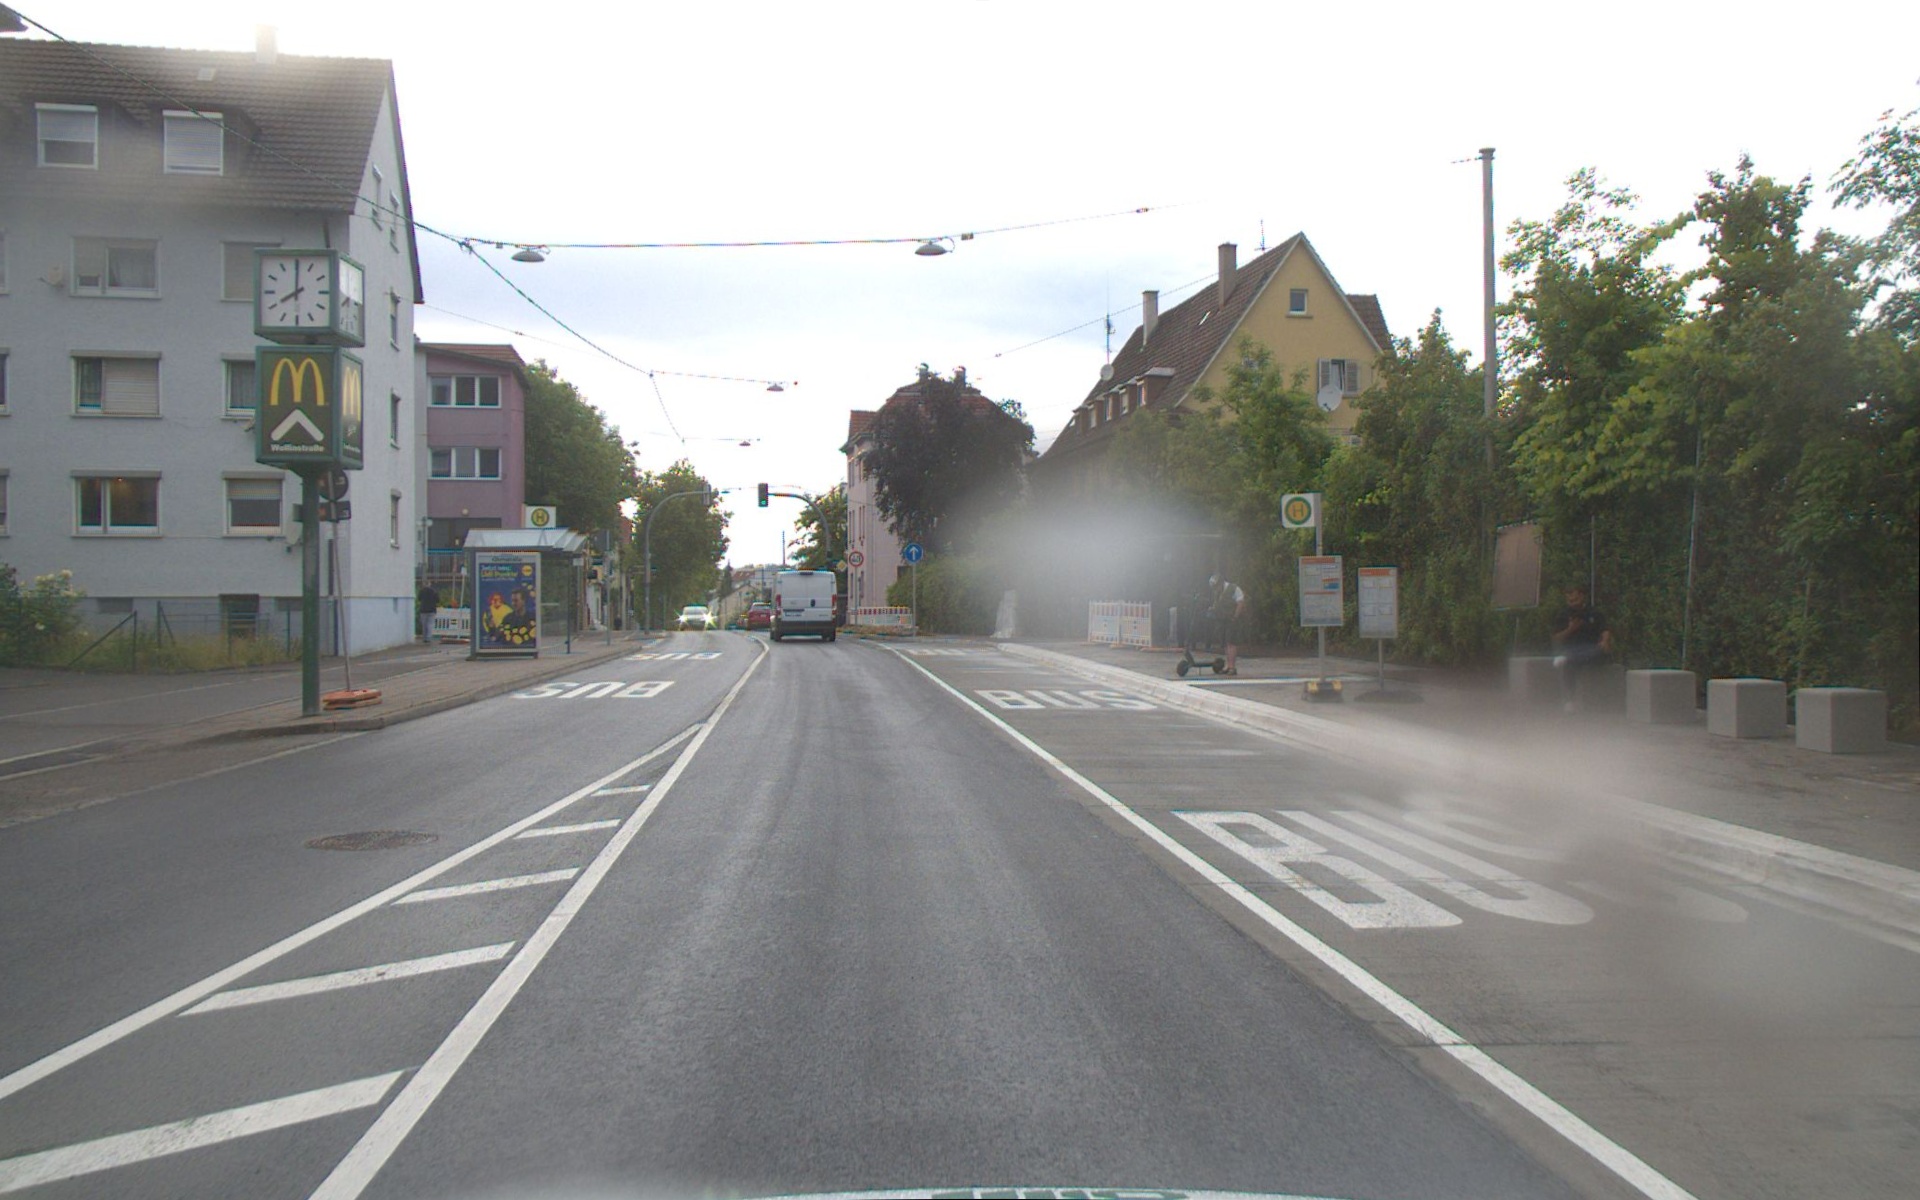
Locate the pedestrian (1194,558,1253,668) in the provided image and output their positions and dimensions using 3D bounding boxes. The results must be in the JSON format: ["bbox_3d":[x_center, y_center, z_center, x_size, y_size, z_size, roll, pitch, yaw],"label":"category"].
[{"bbox_3d":[4.288,0.200,26.961,0.886,1.761,0.654,1,2,5],"label":"pedestrian"}]

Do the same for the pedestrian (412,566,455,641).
[{"bbox_3d":[-14.802,0.087,46.548,1.061,2.048,1.048,0,2,-14],"label":"pedestrian"}]

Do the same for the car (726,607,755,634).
[{"bbox_3d":[-17.118,1.599,129.103,2.195,1.835,4.707,0,3,-8],"label":"car"}]

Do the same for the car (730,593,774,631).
[{"bbox_3d":[-10.781,0.600,85.550,2.195,1.685,4.706,0,3,-8],"label":"car"}]

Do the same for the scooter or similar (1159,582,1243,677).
[{"bbox_3d":[3.935,0.456,26.948,1.542,1.430,0.490,-4,4,-41],"label":"scooter or similar"}]

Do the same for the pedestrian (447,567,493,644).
[{"bbox_3d":[-13.447,0.139,45.381,1.187,2.048,1.048,0,2,-16],"label":"pedestrian"}]

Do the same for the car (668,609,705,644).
[{"bbox_3d":[-15.889,1.515,96.252,1.955,1.824,3.996,0,3,-6],"label":"car"}]

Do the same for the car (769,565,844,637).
[{"bbox_3d":[-5.171,-0.027,55.158,2.196,2.251,4.704,0,2,-9],"label":"car"}]

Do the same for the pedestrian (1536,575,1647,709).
[{"bbox_3d":[6.918,0.438,18.173,0.860,1.391,1.066,1,2,6],"label":"pedestrian"}]
